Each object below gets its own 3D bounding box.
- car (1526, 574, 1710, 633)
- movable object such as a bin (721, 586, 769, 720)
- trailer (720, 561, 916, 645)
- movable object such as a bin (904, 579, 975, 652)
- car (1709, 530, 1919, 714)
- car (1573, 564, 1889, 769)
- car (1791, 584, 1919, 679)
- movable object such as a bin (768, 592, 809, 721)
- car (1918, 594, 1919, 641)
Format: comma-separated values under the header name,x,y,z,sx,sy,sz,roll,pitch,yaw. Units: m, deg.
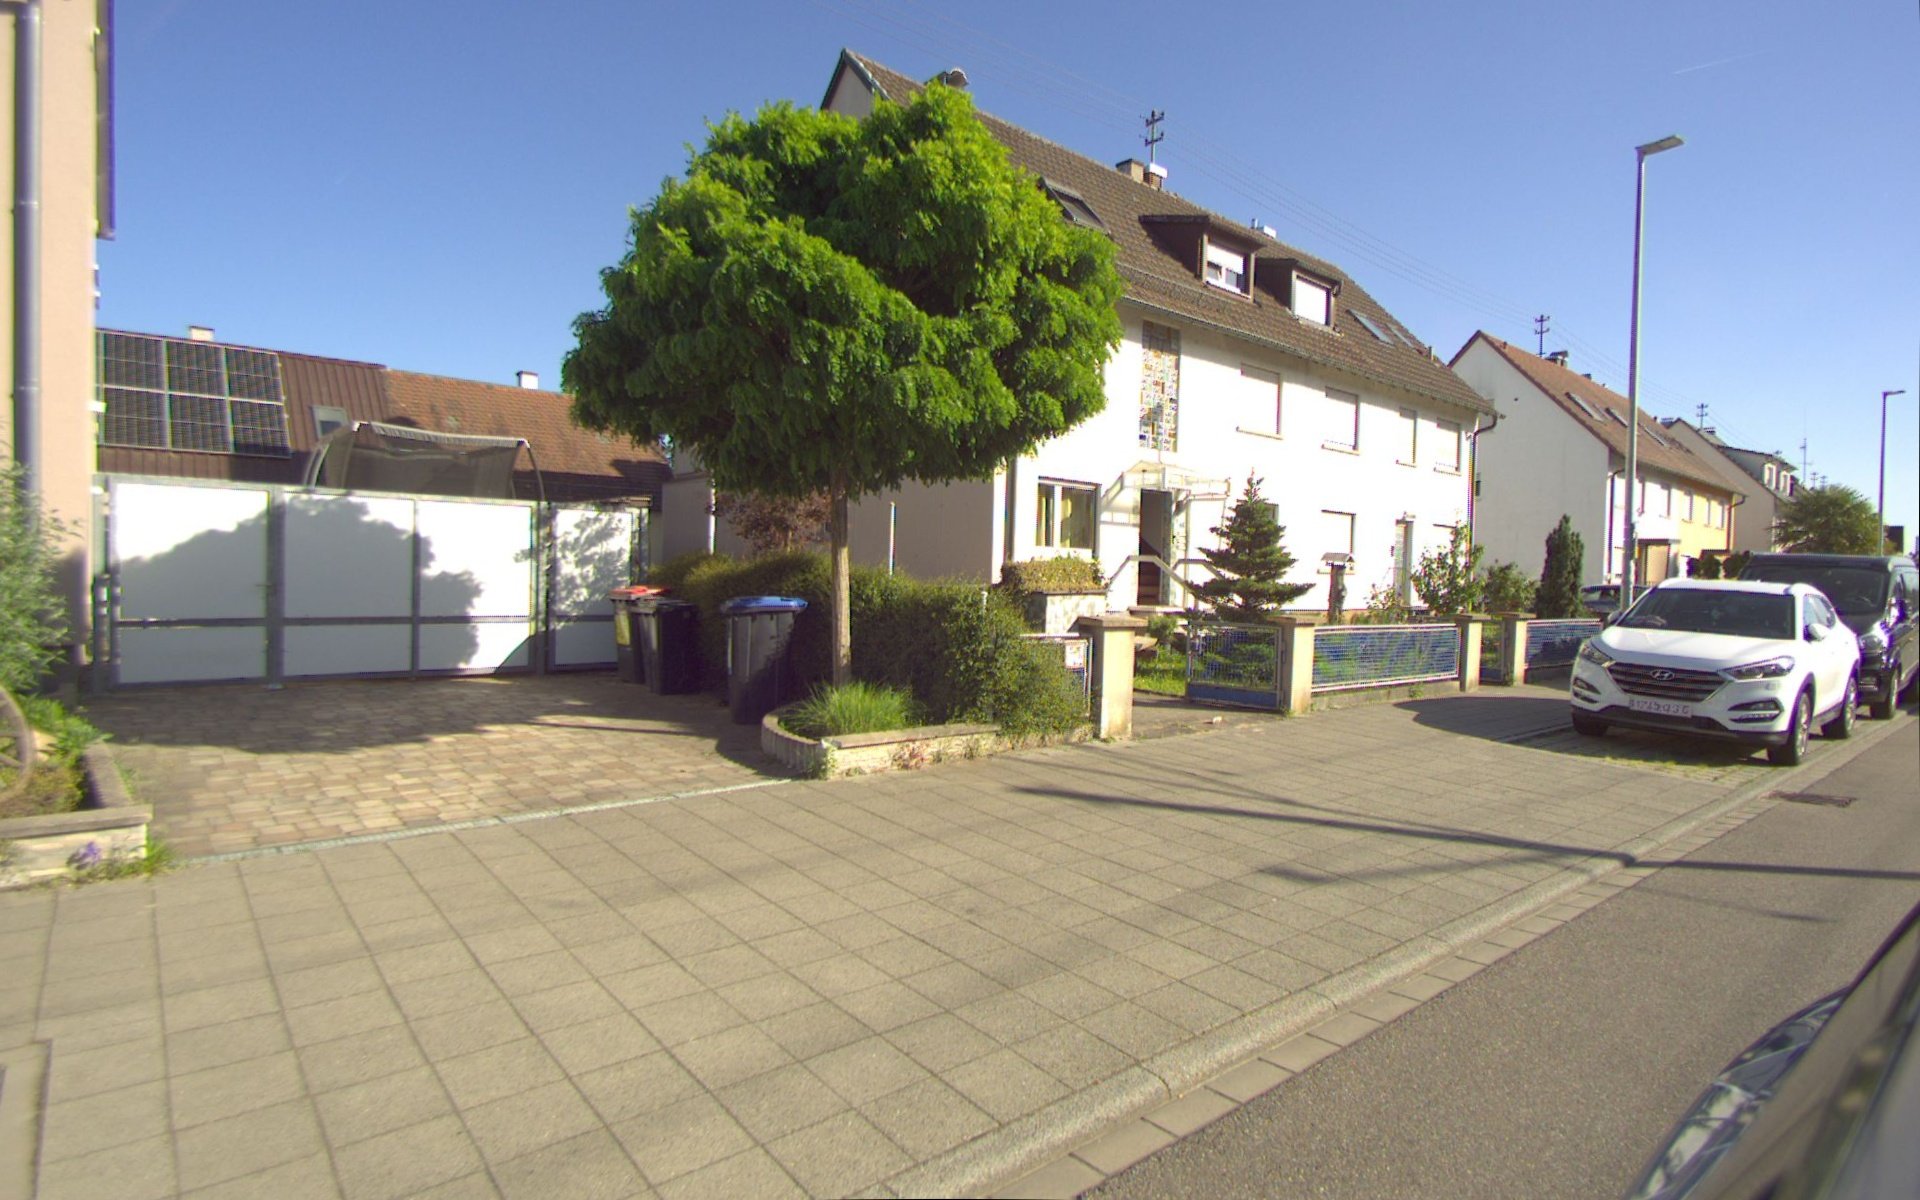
name,x,y,z,sx,sy,sz,roll,pitch,yaw
car,20.405,0.042,31.514,2.160,1.675,4.419,-1,2,-43
movable object such as a bin,-1.833,0.444,8.640,0.276,1.109,0.328,1,1,20
trailer,-2.589,-0.005,17.813,1.606,1.204,3.749,0,3,-42
movable object such as a bin,-0.327,0.225,15.926,0.568,1.073,1.062,0,2,-40
car,12.600,0.193,14.405,5.242,2.170,1.964,-1,3,-41
car,8.145,0.520,10.551,4.243,1.665,1.729,-1,4,-41
car,17.400,0.513,18.886,5.513,1.461,1.858,0,4,-40
movable object such as a bin,-1.478,0.474,8.730,0.212,1.076,0.320,1,1,20
car,29.715,0.450,29.707,4.644,1.517,1.781,0,2,-40
